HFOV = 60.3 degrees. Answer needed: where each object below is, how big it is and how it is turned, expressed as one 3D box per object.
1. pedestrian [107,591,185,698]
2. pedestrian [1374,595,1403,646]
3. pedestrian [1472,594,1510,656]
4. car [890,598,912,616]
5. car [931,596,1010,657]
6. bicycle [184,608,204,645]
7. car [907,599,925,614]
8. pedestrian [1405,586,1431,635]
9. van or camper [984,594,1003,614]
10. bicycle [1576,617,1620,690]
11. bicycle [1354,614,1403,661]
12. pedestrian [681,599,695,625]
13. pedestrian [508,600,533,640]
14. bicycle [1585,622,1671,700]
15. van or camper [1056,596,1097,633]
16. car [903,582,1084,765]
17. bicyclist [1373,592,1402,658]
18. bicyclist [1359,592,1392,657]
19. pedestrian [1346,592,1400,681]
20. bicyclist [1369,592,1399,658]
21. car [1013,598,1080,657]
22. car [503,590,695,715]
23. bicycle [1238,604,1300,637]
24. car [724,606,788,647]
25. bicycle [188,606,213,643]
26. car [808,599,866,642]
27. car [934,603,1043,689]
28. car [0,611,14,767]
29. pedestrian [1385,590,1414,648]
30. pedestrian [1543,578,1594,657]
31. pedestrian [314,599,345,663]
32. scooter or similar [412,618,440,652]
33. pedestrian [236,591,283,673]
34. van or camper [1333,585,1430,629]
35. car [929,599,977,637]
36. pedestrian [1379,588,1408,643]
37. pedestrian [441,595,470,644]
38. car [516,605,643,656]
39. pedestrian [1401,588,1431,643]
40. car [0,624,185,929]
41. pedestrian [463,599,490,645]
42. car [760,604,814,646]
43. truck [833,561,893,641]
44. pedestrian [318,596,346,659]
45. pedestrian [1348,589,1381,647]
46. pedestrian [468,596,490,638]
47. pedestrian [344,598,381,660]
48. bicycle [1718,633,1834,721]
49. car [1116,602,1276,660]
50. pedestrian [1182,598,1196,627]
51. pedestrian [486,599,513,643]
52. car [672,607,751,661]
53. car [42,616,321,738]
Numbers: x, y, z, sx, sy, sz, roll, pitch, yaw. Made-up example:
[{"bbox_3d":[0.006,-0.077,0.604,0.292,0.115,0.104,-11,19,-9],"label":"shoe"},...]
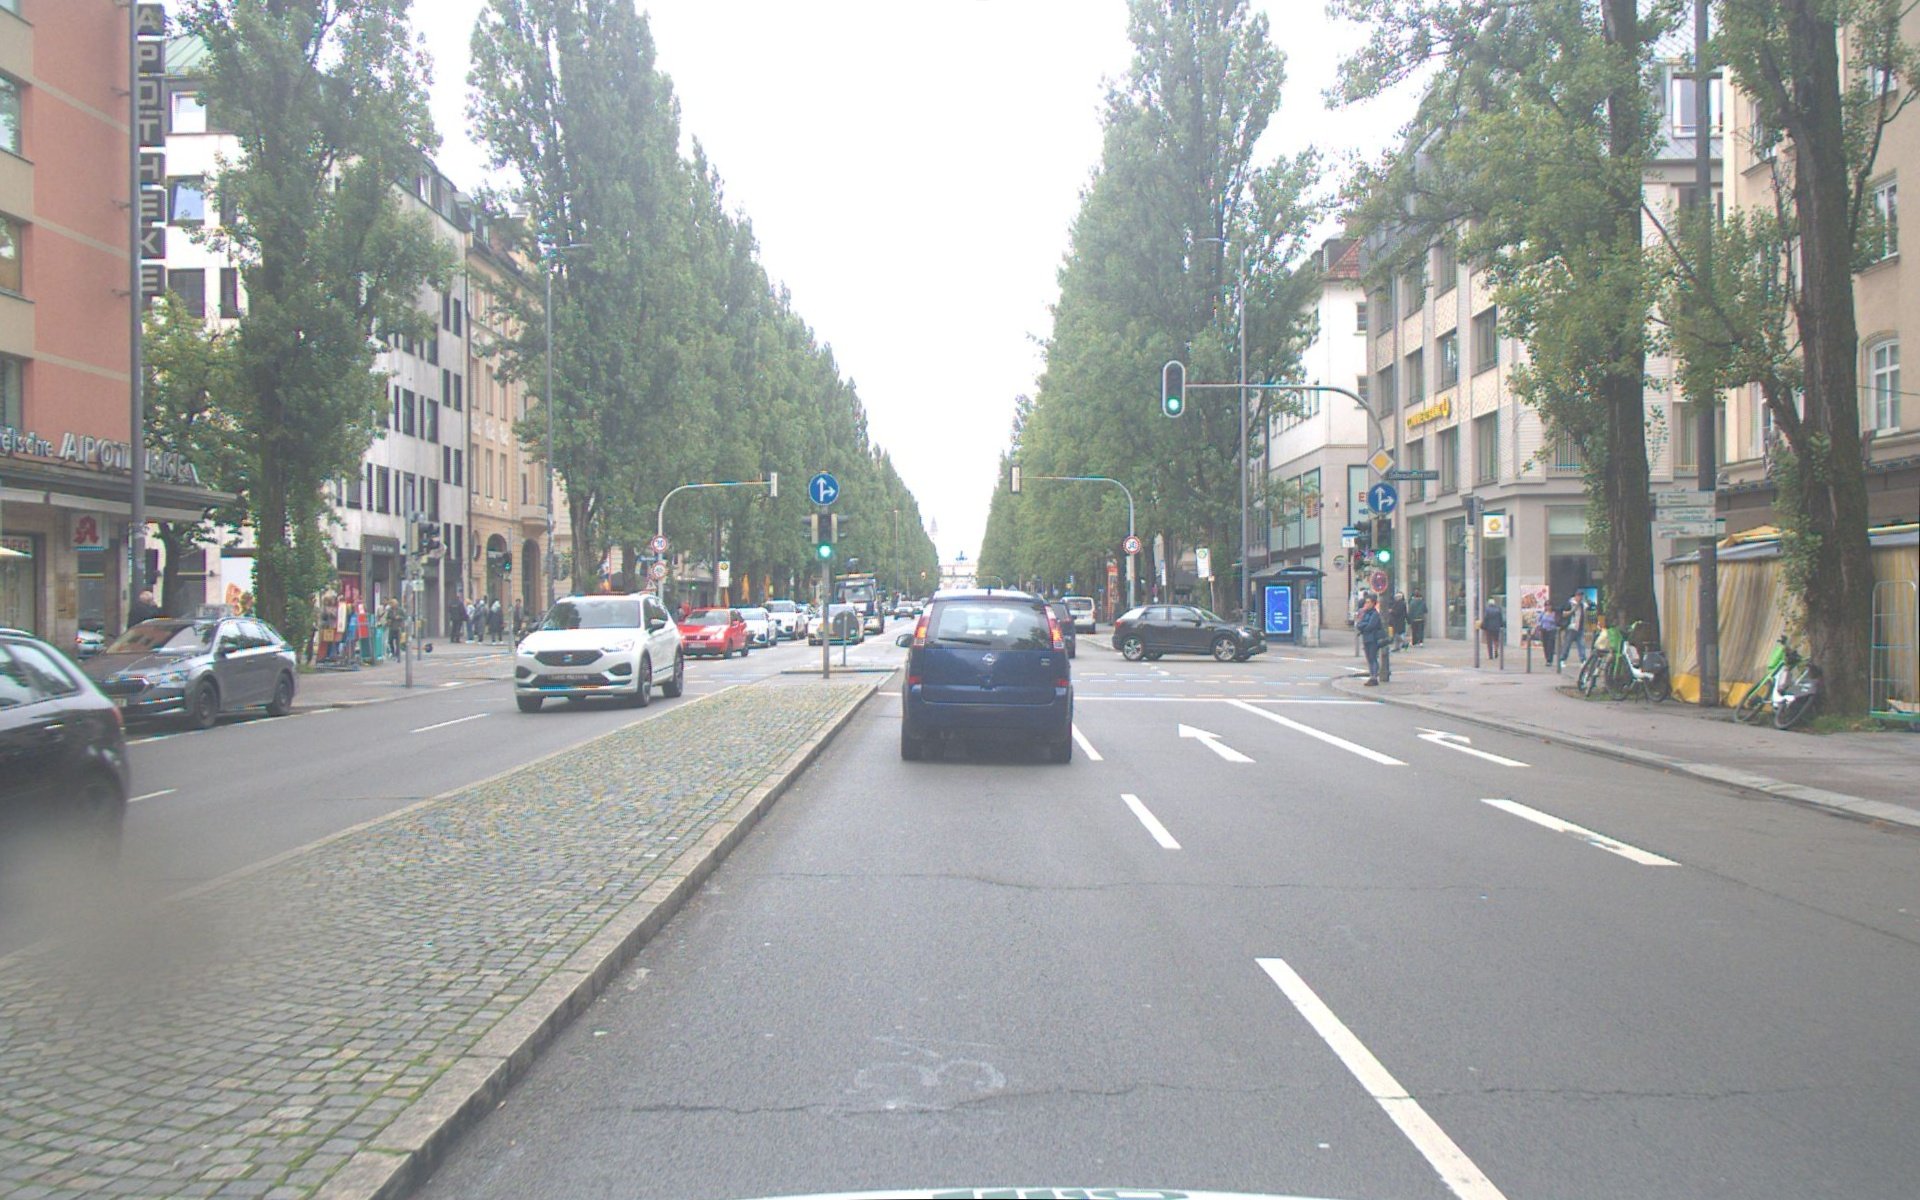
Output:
[{"bbox_3d":[-14.336,0.774,29.139,0.720,1.827,0.993,1,-1,18],"label":"pedestrian"},{"bbox_3d":[14.754,0.703,56.974,0.734,1.706,0.963,-1,0,1],"label":"pedestrian"},{"bbox_3d":[14.468,0.689,45.086,0.734,1.665,0.734,-2,-2,2],"label":"pedestrian"},{"bbox_3d":[-5.560,0.653,155.680,1.874,1.710,4.586,-1,0,0],"label":"car"},{"bbox_3d":[0.238,0.673,43.637,1.953,1.524,3.999,-1,0,-1],"label":"car"},{"bbox_3d":[-25.498,0.877,55.097,0.409,1.205,1.997,0,0,-19],"label":"bicycle"},{"bbox_3d":[-5.124,0.788,192.101,1.896,1.651,4.336,-2,0,0],"label":"car"},{"bbox_3d":[16.801,0.387,60.673,0.734,1.789,0.711,0,0,1],"label":"pedestrian"},{"bbox_3d":[4.501,0.507,225.180,2.426,2.626,5.844,-1,0,0],"label":"van or camper"},{"bbox_3d":[10.215,0.841,26.500,0.396,1.088,1.812,5,1,15],"label":"bicycle"},{"bbox_3d":[10.451,0.923,41.413,0.614,1.106,2.263,-1,0,-1],"label":"bicycle"},{"bbox_3d":[-17.523,0.763,106.707,0.719,1.702,0.952,-1,0,0],"label":"pedestrian"},{"bbox_3d":[-18.293,0.808,68.805,0.762,1.647,0.934,-1,0,0],"label":"pedestrian"},{"bbox_3d":[9.808,0.878,24.339,0.498,1.066,1.770,0,0,-2],"label":"bicycle"},{"bbox_3d":[6.224,0.772,88.691,1.830,1.916,4.902,0,0,0],"label":"van or camper"},{"bbox_3d":[0.279,0.675,17.162,1.647,1.670,3.999,0,0,-1],"label":"car"},{"bbox_3d":[10.462,0.610,40.481,0.609,1.616,0.391,-1,0,-1],"label":"bicyclist"},{"bbox_3d":[10.444,0.618,41.558,0.609,1.616,0.753,-1,0,-1],"label":"bicyclist"},{"bbox_3d":[7.755,0.683,31.086,0.750,1.638,0.863,-1,0,-4],"label":"pedestrian"},{"bbox_3d":[10.453,0.612,40.795,0.609,1.616,0.481,-1,0,-1],"label":"bicyclist"},{"bbox_3d":[2.448,0.744,47.660,1.671,1.601,3.999,-1,0,-1],"label":"car"},{"bbox_3d":[-5.318,0.716,24.986,1.806,1.664,4.575,-2,0,1],"label":"car"},{"bbox_3d":[11.895,0.785,63.719,2.295,1.274,0.633,0,0,-1],"label":"bicycle"},{"bbox_3d":[-7.478,0.940,60.981,1.785,1.432,4.632,-1,0,0],"label":"car"},{"bbox_3d":[-25.935,0.825,56.511,0.442,1.205,2.054,0,0,-15],"label":"bicycle"},{"bbox_3d":[-4.617,0.749,62.710,1.806,1.528,4.985,-1,0,0],"label":"car"},{"bbox_3d":[0.494,0.833,31.799,1.953,1.524,3.999,-1,0,-1],"label":"car"},{"bbox_3d":[-10.734,0.929,15.225,1.668,1.611,4.095,-2,0,0],"label":"car"},{"bbox_3d":[13.701,0.597,51.572,0.694,1.789,0.752,0,0,1],"label":"pedestrian"},{"bbox_3d":[13.695,0.407,37.227,0.661,1.732,0.847,1,-3,-43],"label":"pedestrian"},{"bbox_3d":[-17.172,0.838,45.065,0.616,1.718,0.519,1,-1,1],"label":"pedestrian"},{"bbox_3d":[-17.682,1.159,54.769,0.797,1.112,0.274,1,-1,-4],"label":"scooter or similar"},{"bbox_3d":[-15.525,0.704,36.666,0.709,1.802,0.778,-1,0,1],"label":"pedestrian"},{"bbox_3d":[19.293,0.324,75.765,4.018,1.899,1.899,1,-1,4],"label":"van or camper"},{"bbox_3d":[-0.302,0.720,69.340,1.953,1.524,3.999,-1,0,-1],"label":"car"},{"bbox_3d":[14.271,0.515,54.462,0.734,1.789,0.859,-1,-2,1],"label":"pedestrian"},{"bbox_3d":[-19.032,0.729,62.378,0.783,1.819,0.912,1,0,0],"label":"pedestrian"},{"bbox_3d":[-11.709,0.914,50.849,3.636,1.501,1.763,-1,0,-19],"label":"car"},{"bbox_3d":[15.016,0.527,54.435,0.734,1.789,0.859,-1,-2,1],"label":"pedestrian"},{"bbox_3d":[-5.373,0.873,7.380,1.799,1.385,4.176,-3,0,0],"label":"car"},{"bbox_3d":[-18.260,0.826,62.498,0.717,1.711,0.977,1,0,0],"label":"pedestrian"},{"bbox_3d":[-7.533,1.063,72.326,1.799,1.746,4.636,-1,0,0],"label":"car"},{"bbox_3d":[-4.761,0.044,82.389,2.413,3.734,8.439,-1,0,0],"label":"truck"},{"bbox_3d":[-17.349,0.761,45.687,0.574,1.720,0.514,0,0,0],"label":"pedestrian"},{"bbox_3d":[13.011,0.563,53.223,0.801,1.849,0.890,0,0,-2],"label":"pedestrian"},{"bbox_3d":[-21.442,0.752,73.735,0.684,1.819,0.820,-1,0,1],"label":"pedestrian"},{"bbox_3d":[-17.408,0.840,48.175,0.712,1.771,0.942,1,-1,0],"label":"pedestrian"},{"bbox_3d":[9.961,0.917,20.242,0.498,0.992,1.770,0,0,-2],"label":"bicycle"},{"bbox_3d":[6.344,0.819,44.500,3.910,1.487,1.757,0,0,28],"label":"car"},{"bbox_3d":[15.145,0.819,109.264,0.809,1.873,1.100,-1,0,3],"label":"pedestrian"},{"bbox_3d":[-17.030,0.781,61.199,0.735,1.594,0.989,0,0,-1],"label":"pedestrian"},{"bbox_3d":[-7.234,0.965,48.464,1.701,1.462,3.823,-1,0,0],"label":"car"},{"bbox_3d":[-10.580,0.982,22.900,1.668,1.463,4.590,-2,0,0],"label":"car"}]
